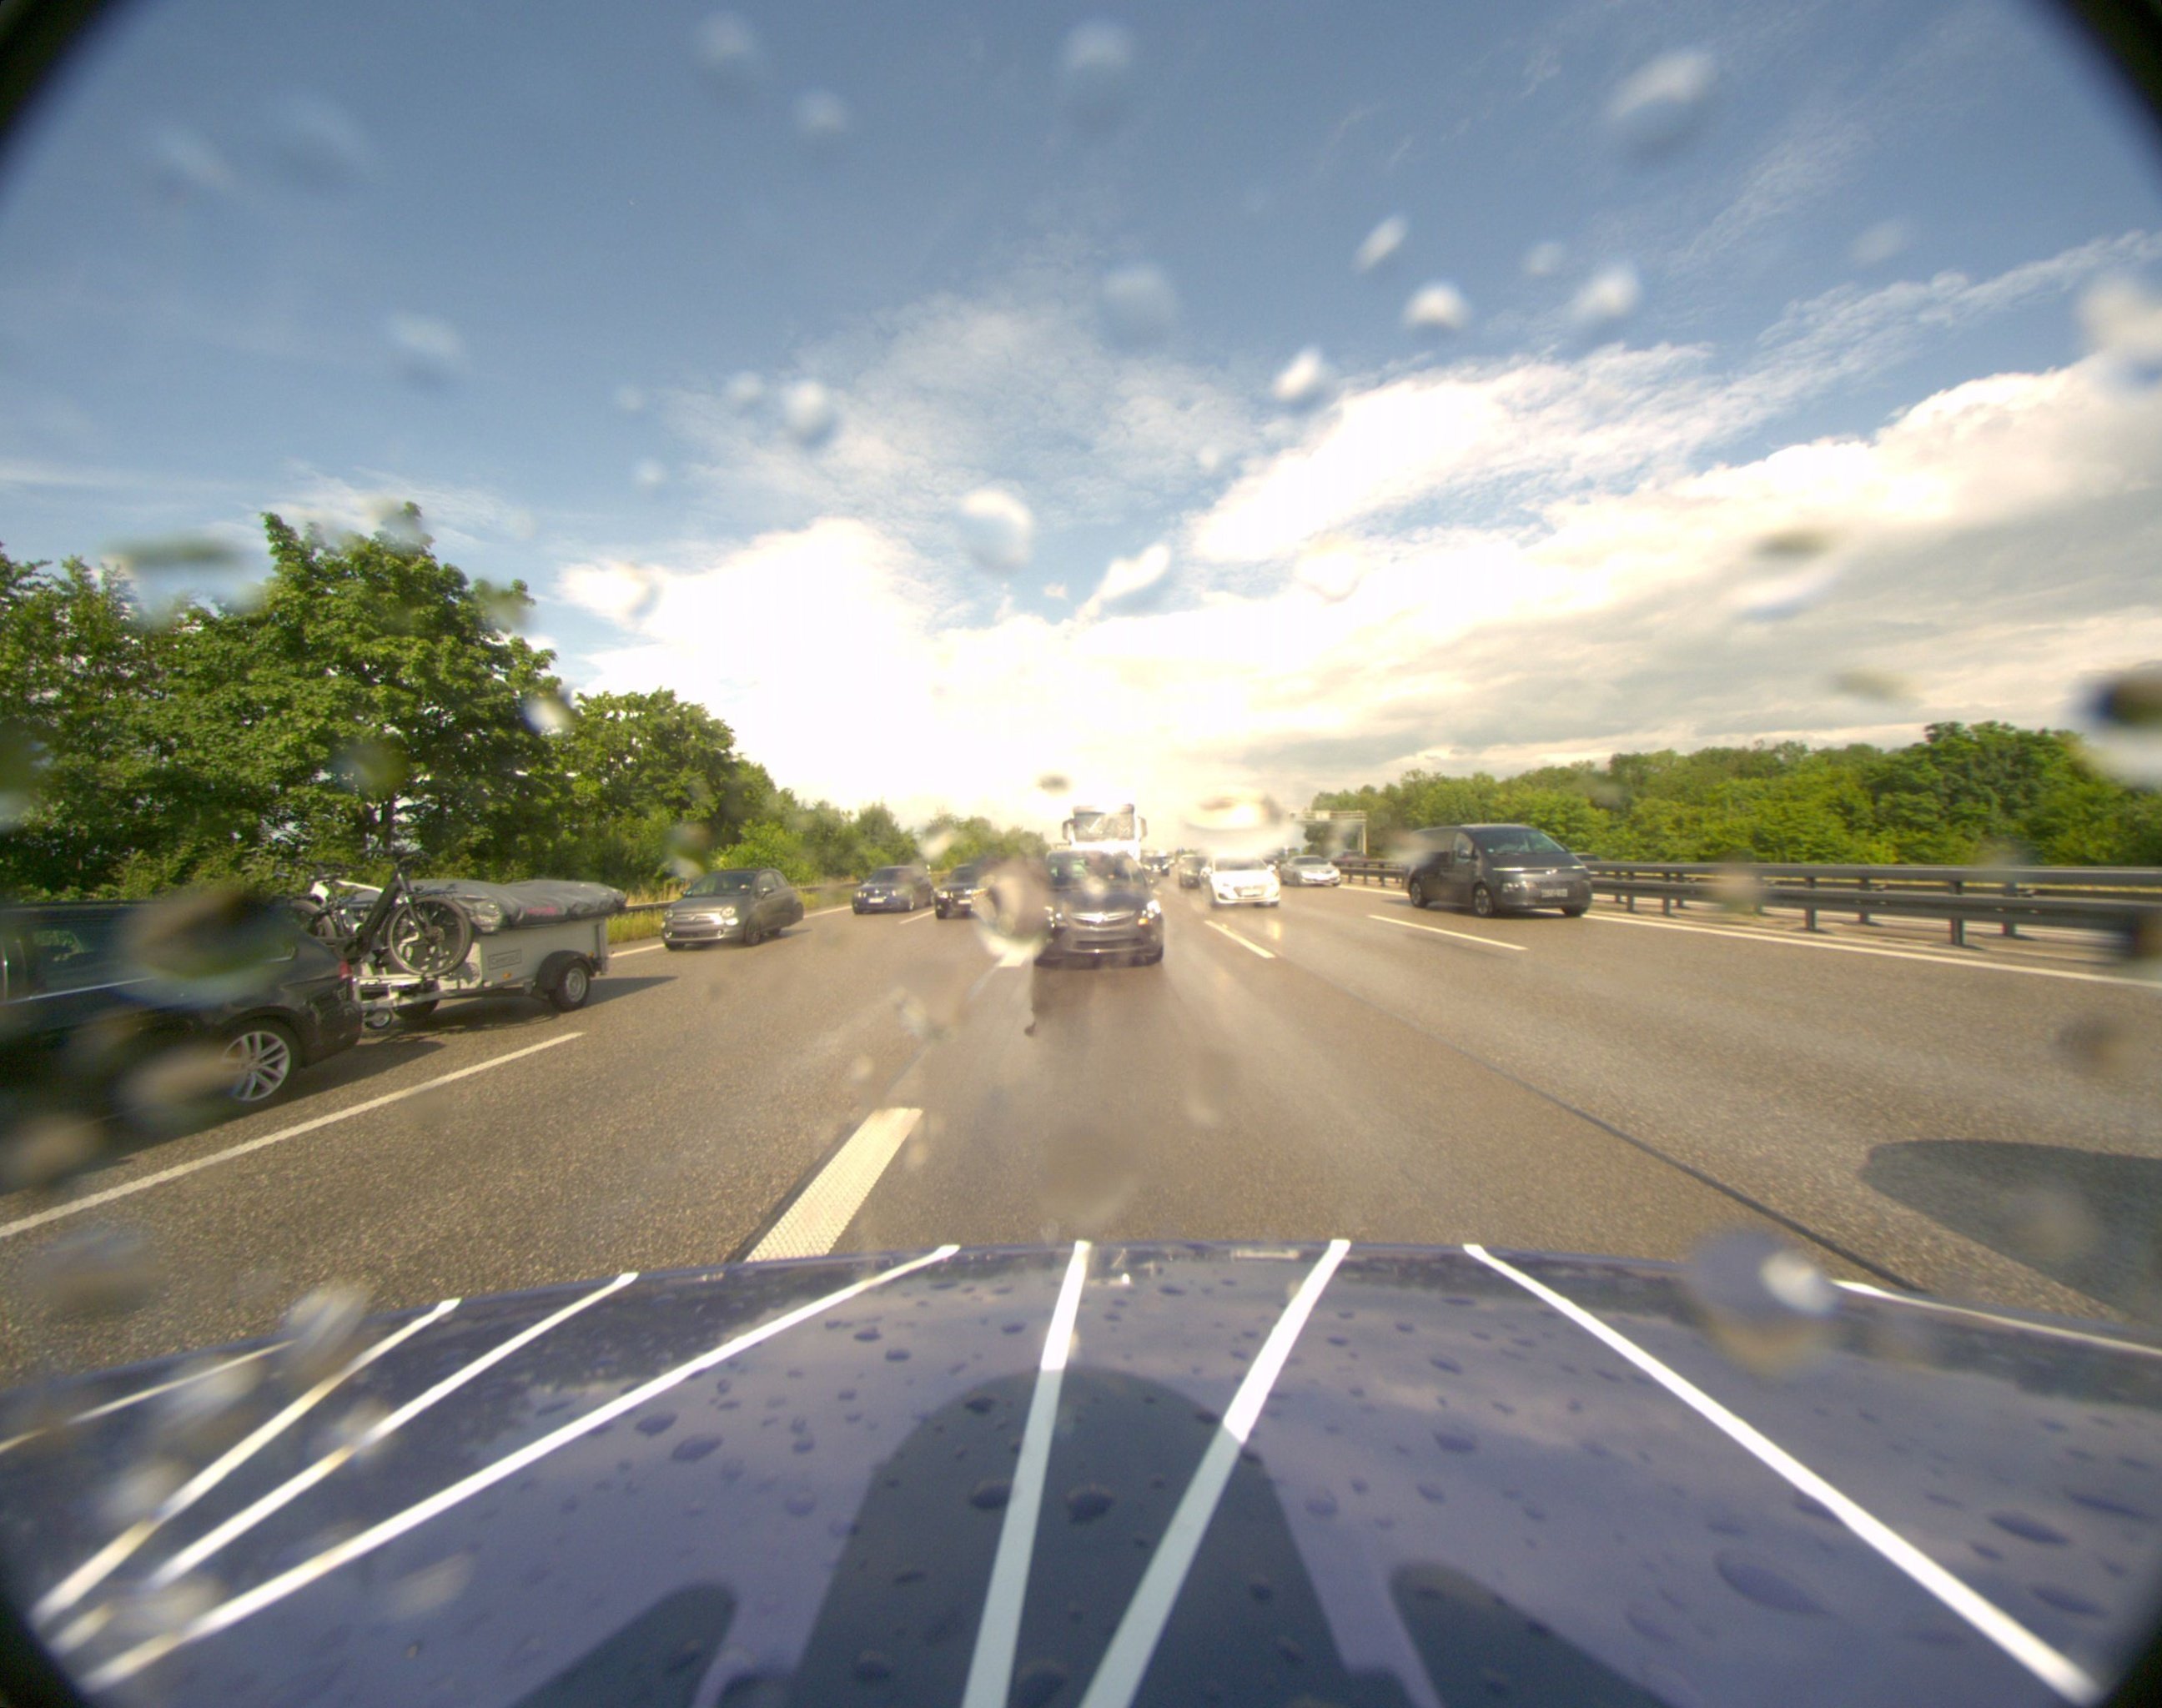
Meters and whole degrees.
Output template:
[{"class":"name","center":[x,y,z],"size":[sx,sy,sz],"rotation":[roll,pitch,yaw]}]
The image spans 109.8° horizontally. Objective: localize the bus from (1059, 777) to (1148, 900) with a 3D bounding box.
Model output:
[{"class":"bus","center":[0.888,-0.514,30.920],"size":[2.904,4.104,9.846],"rotation":[-2,0,1]}]

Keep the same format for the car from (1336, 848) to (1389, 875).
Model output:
[{"class":"car","center":[17.222,0.420,46.642],"size":[1.804,1.535,4.000],"rotation":[-2,0,1]}]

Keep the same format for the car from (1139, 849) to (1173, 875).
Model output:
[{"class":"car","center":[5.168,0.534,52.829],"size":[1.889,1.707,4.000],"rotation":[-2,0,0]}]

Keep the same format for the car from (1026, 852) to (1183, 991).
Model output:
[{"class":"car","center":[0.207,0.817,11.598],"size":[1.858,1.622,4.734],"rotation":[-2,0,-2]}]

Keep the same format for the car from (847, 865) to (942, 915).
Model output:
[{"class":"car","center":[-5.887,1.087,24.577],"size":[1.771,1.343,4.580],"rotation":[-2,0,2]}]

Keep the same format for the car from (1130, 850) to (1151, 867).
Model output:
[{"class":"car","center":[6.325,0.437,81.166],"size":[1.900,1.739,4.000],"rotation":[-2,0,0]}]

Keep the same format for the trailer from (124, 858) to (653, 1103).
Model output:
[{"class":"trailer","center":[-6.356,0.967,7.756],"size":[1.811,1.736,3.966],"rotation":[-3,0,-3]}]

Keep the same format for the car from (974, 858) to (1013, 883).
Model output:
[{"class":"car","center":[-5.595,1.016,49.237],"size":[1.998,1.481,4.249],"rotation":[-2,0,0]}]

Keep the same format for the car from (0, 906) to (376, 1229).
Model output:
[{"class":"car","center":[-6.130,1.137,3.519],"size":[1.748,1.422,4.403],"rotation":[-2,0,-3]}]

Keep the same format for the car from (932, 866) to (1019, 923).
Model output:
[{"class":"car","center":[-2.824,1.045,21.116],"size":[1.722,1.346,3.884],"rotation":[-2,0,1]}]

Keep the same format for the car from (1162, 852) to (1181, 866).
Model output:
[{"class":"car","center":[11.540,0.653,96.831],"size":[1.900,1.739,4.000],"rotation":[-2,0,0]}]

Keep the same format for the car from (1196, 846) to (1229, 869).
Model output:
[{"class":"car","center":[10.480,0.246,60.678],"size":[1.900,1.739,4.000],"rotation":[-2,0,0]}]

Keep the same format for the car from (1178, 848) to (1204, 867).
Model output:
[{"class":"car","center":[10.589,0.346,73.611],"size":[1.900,1.739,4.000],"rotation":[-2,0,0]}]

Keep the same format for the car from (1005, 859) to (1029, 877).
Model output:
[{"class":"car","center":[-5.981,1.253,71.514],"size":[1.868,1.565,4.000],"rotation":[-2,0,0]}]

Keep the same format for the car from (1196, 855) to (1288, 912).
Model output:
[{"class":"car","center":[4.407,0.761,21.451],"size":[1.809,1.389,4.240],"rotation":[-1,0,2]}]

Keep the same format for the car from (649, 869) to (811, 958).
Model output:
[{"class":"car","center":[-6.901,1.099,15.344],"size":[1.616,1.480,3.481],"rotation":[-2,0,0]}]

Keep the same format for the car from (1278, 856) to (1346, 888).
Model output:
[{"class":"car","center":[9.532,0.721,31.607],"size":[1.856,1.182,3.583],"rotation":[-2,0,3]}]

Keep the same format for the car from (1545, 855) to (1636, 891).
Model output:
[{"class":"car","center":[24.227,0.858,36.300],"size":[1.736,1.583,4.000],"rotation":[-2,0,1]}]

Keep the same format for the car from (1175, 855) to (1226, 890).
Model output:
[{"class":"car","center":[5.151,0.757,33.210],"size":[1.597,1.390,4.000],"rotation":[-2,0,1]}]

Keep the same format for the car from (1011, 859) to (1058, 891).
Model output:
[{"class":"car","center":[-2.170,0.969,36.536],"size":[1.743,1.357,4.001],"rotation":[-2,0,4]}]

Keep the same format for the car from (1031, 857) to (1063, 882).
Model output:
[{"class":"car","center":[-2.149,0.970,49.371],"size":[1.858,1.433,4.000],"rotation":[-2,0,0]}]

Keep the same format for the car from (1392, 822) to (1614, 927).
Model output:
[{"class":"car","center":[8.918,0.375,16.731],"size":[1.998,1.906,5.236],"rotation":[-2,0,1]}]

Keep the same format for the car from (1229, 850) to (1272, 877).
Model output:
[{"class":"car","center":[9.679,0.525,43.531],"size":[1.618,1.412,4.000],"rotation":[-2,0,1]}]
